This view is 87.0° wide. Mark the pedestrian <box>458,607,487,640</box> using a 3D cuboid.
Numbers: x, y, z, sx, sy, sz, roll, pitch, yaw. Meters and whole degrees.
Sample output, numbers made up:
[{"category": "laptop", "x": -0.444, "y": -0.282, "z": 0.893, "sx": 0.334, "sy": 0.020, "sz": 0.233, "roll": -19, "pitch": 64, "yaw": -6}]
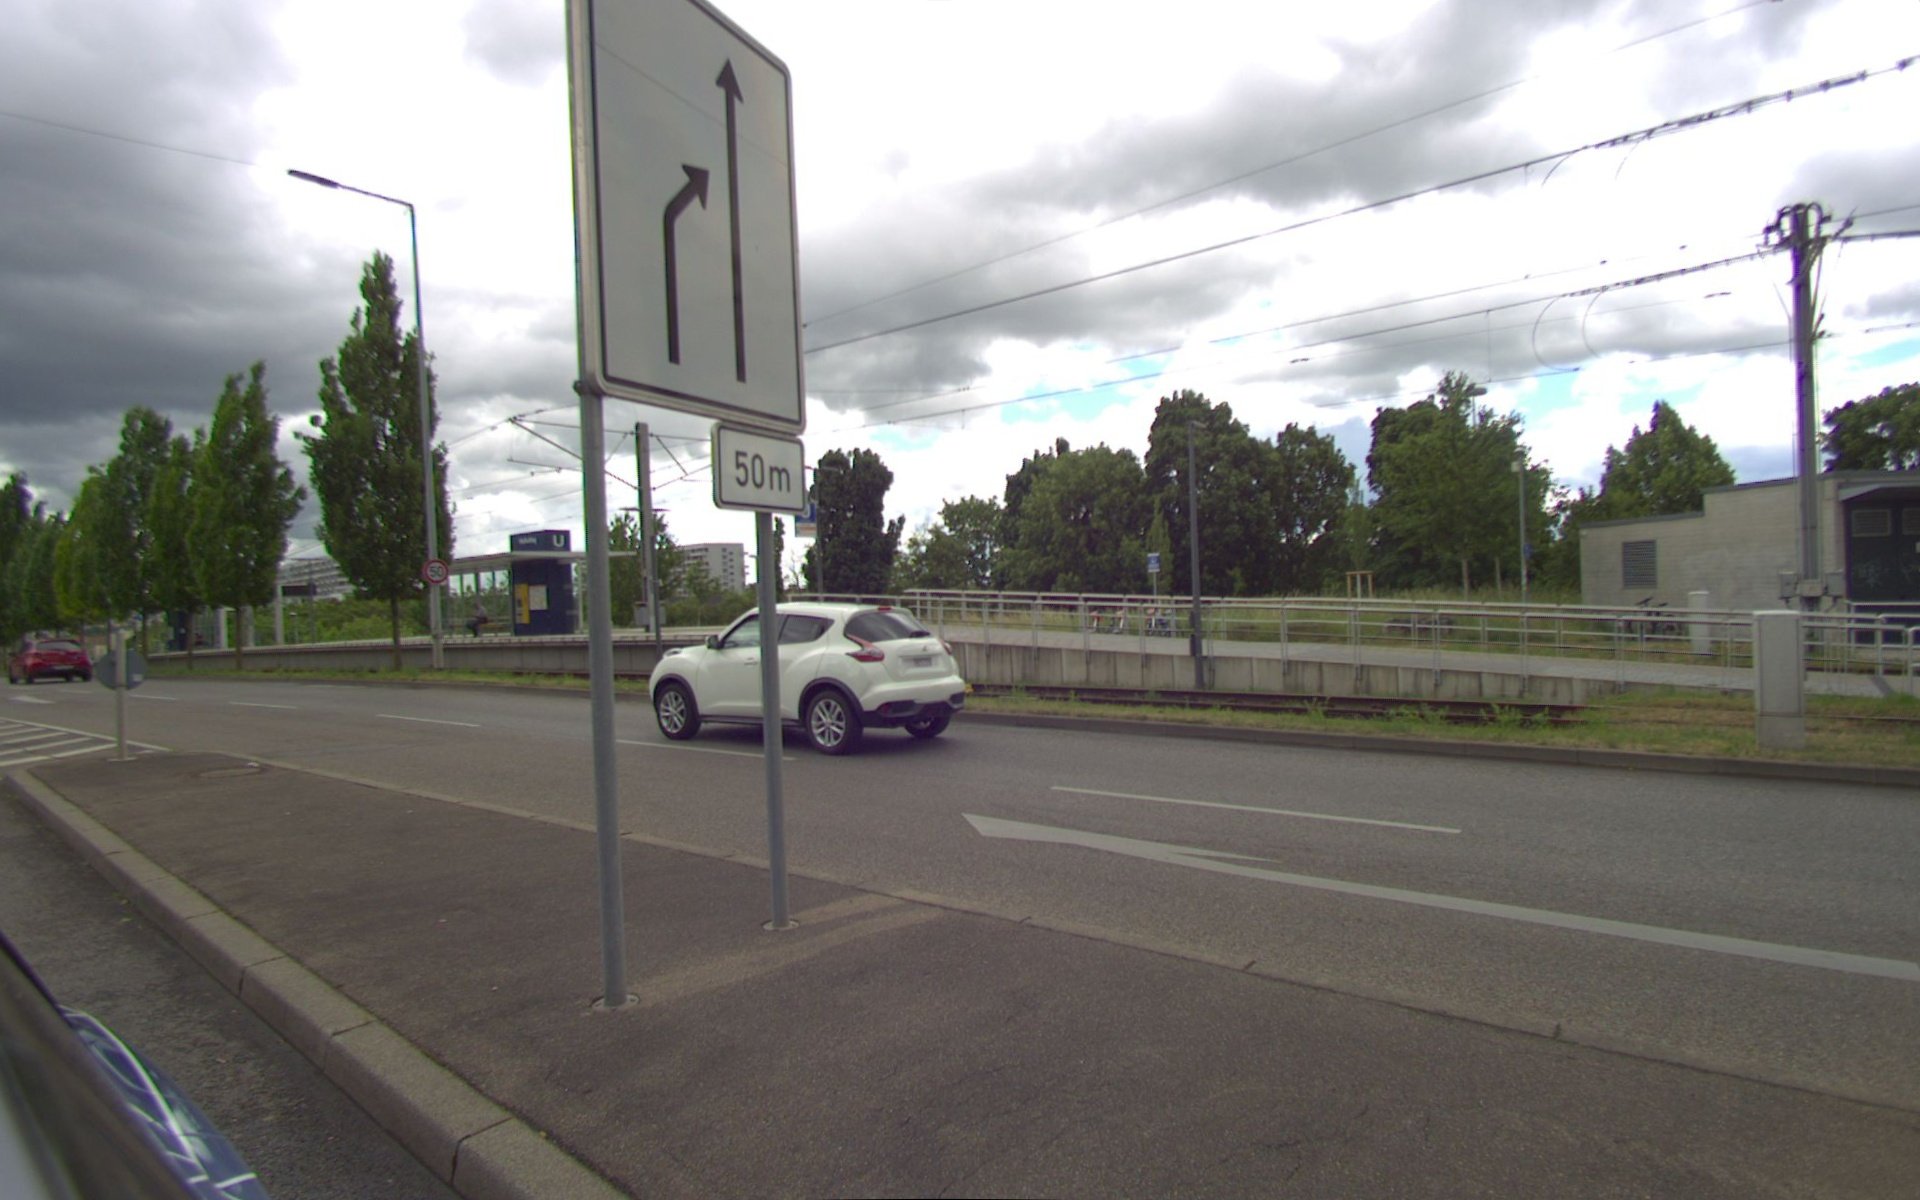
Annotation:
[{"category": "pedestrian", "x": -18.252, "y": 0.881, "z": 37.869, "sx": 0.781, "sy": 1.211, "sz": 0.656, "roll": -2, "pitch": -1, "yaw": 33}]

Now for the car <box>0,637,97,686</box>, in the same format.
[{"category": "car", "x": -30.831, "y": 2.057, "z": 34.046, "sx": 4.417, "sy": 1.454, "sz": 1.765, "roll": -3, "pitch": -1, "yaw": 36}]

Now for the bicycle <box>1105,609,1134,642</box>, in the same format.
[{"category": "bicycle", "x": 5.438, "y": 0.869, "z": 34.454, "sx": 0.490, "sy": 1.095, "sz": 1.466, "roll": -2, "pitch": -1, "yaw": 30}]

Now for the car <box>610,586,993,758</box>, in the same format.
[{"category": "car", "x": -1.943, "y": 0.730, "z": 11.701, "sx": 4.417, "sy": 1.641, "sz": 1.812, "roll": -1, "pitch": -1, "yaw": 37}]

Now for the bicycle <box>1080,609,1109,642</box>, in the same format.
[{"category": "bicycle", "x": 4.681, "y": 0.890, "z": 35.156, "sx": 0.490, "sy": 1.095, "sz": 1.466, "roll": -2, "pitch": -1, "yaw": 30}]

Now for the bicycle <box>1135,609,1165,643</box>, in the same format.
[{"category": "bicycle", "x": 6.380, "y": 0.874, "z": 33.942, "sx": 0.490, "sy": 1.095, "sz": 1.466, "roll": -2, "pitch": -1, "yaw": 30}]

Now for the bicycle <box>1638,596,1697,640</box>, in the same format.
[{"category": "bicycle", "x": 18.193, "y": 0.459, "z": 26.054, "sx": 0.486, "sy": 1.095, "sz": 1.480, "roll": -1, "pitch": -1, "yaw": 3}]

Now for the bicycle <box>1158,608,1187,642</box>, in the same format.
[{"category": "bicycle", "x": 7.044, "y": 0.817, "z": 33.463, "sx": 0.490, "sy": 1.095, "sz": 1.466, "roll": -2, "pitch": -1, "yaw": 30}]
